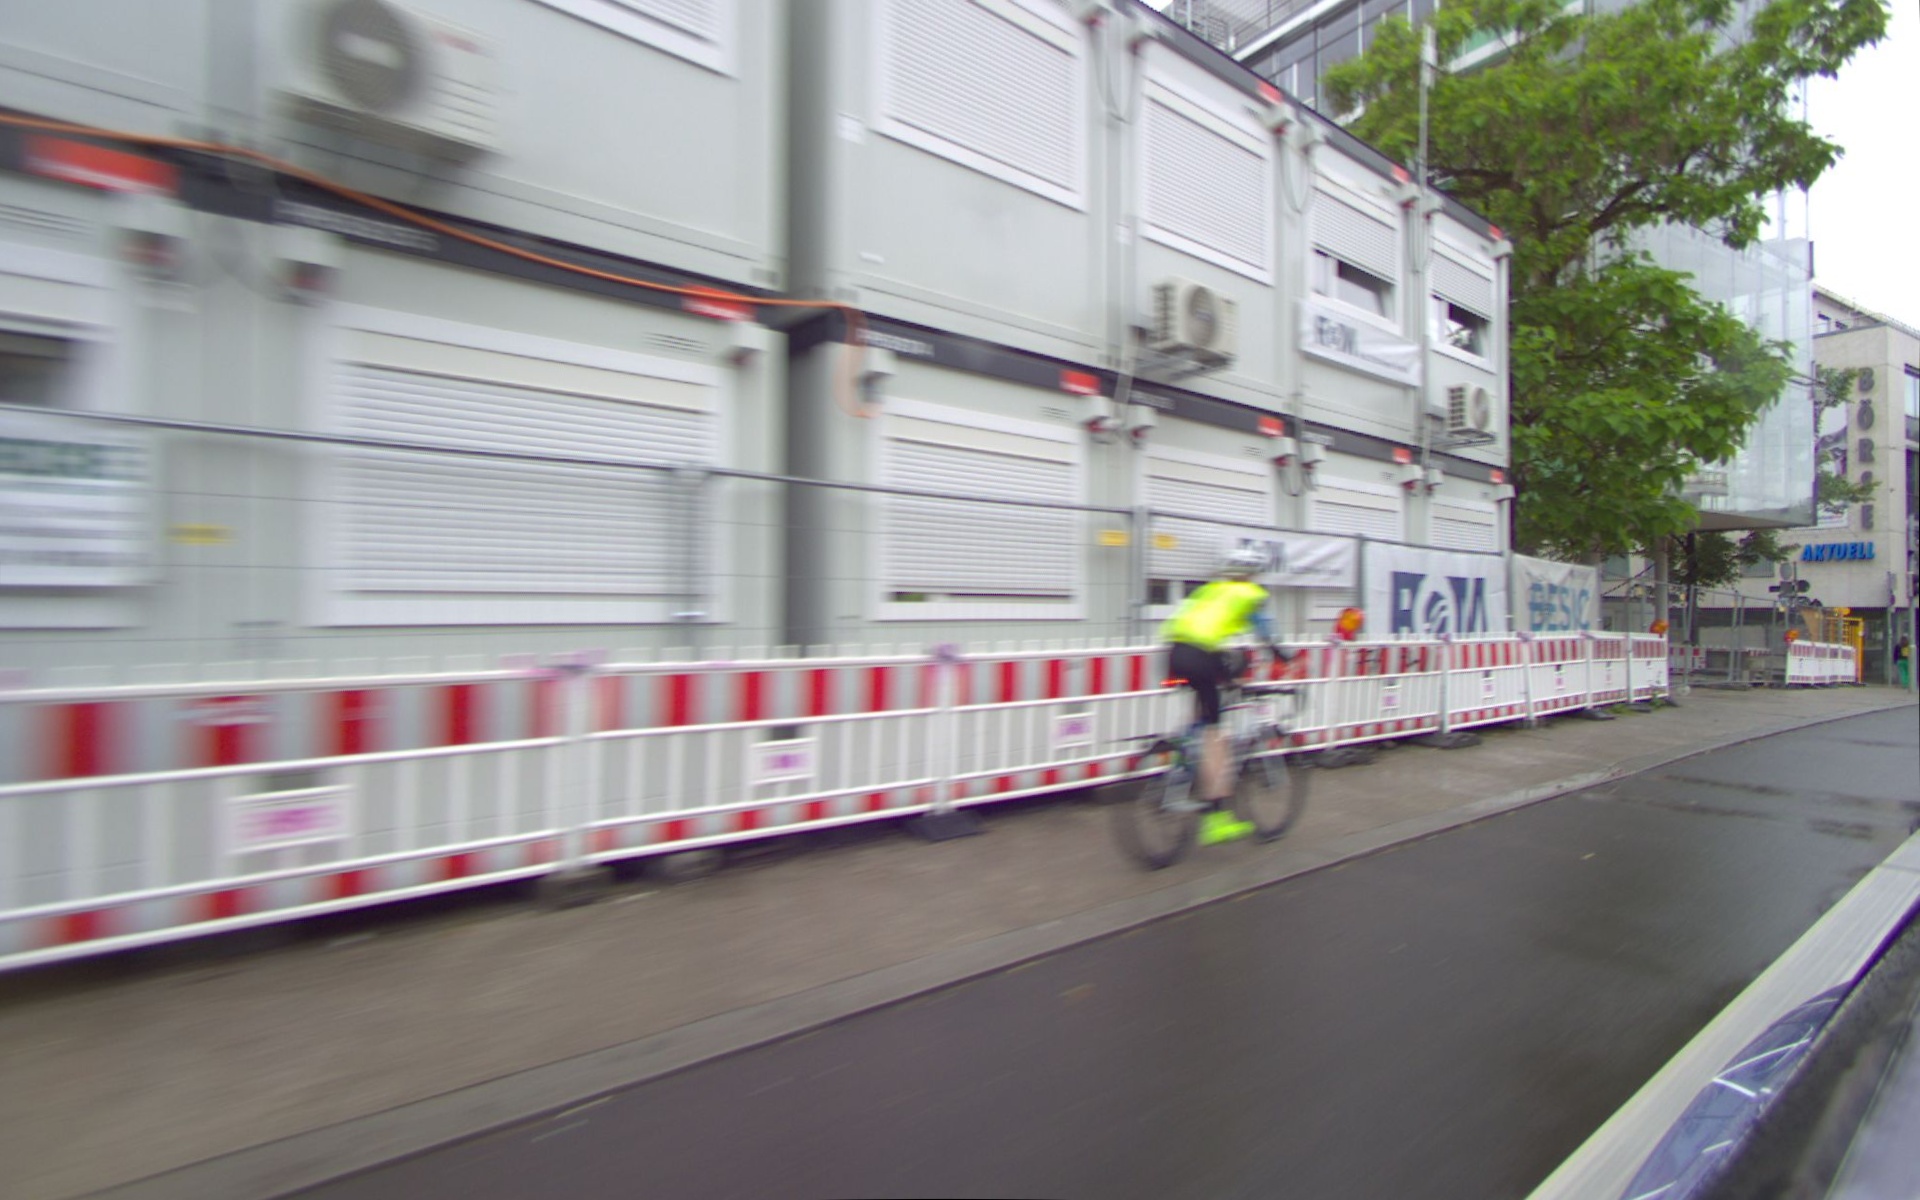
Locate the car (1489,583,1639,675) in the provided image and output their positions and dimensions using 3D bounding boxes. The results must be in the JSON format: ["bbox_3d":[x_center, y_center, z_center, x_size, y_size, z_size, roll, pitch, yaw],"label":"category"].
[{"bbox_3d":[14.519,0.698,24.239,4.128,2.008,2.012,3,-2,-43],"label":"car"}]

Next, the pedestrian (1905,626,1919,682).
[{"bbox_3d":[30.969,1.746,32.643,0.829,1.784,0.599,3,-2,-38],"label":"pedestrian"}]

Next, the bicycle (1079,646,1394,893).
[{"bbox_3d":[1.620,0.848,5.714,2.020,1.065,0.663,0,2,-40],"label":"bicycle"}]

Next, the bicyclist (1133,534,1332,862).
[{"bbox_3d":[1.510,0.486,5.627,0.778,1.659,0.663,0,3,-40],"label":"bicyclist"}]
